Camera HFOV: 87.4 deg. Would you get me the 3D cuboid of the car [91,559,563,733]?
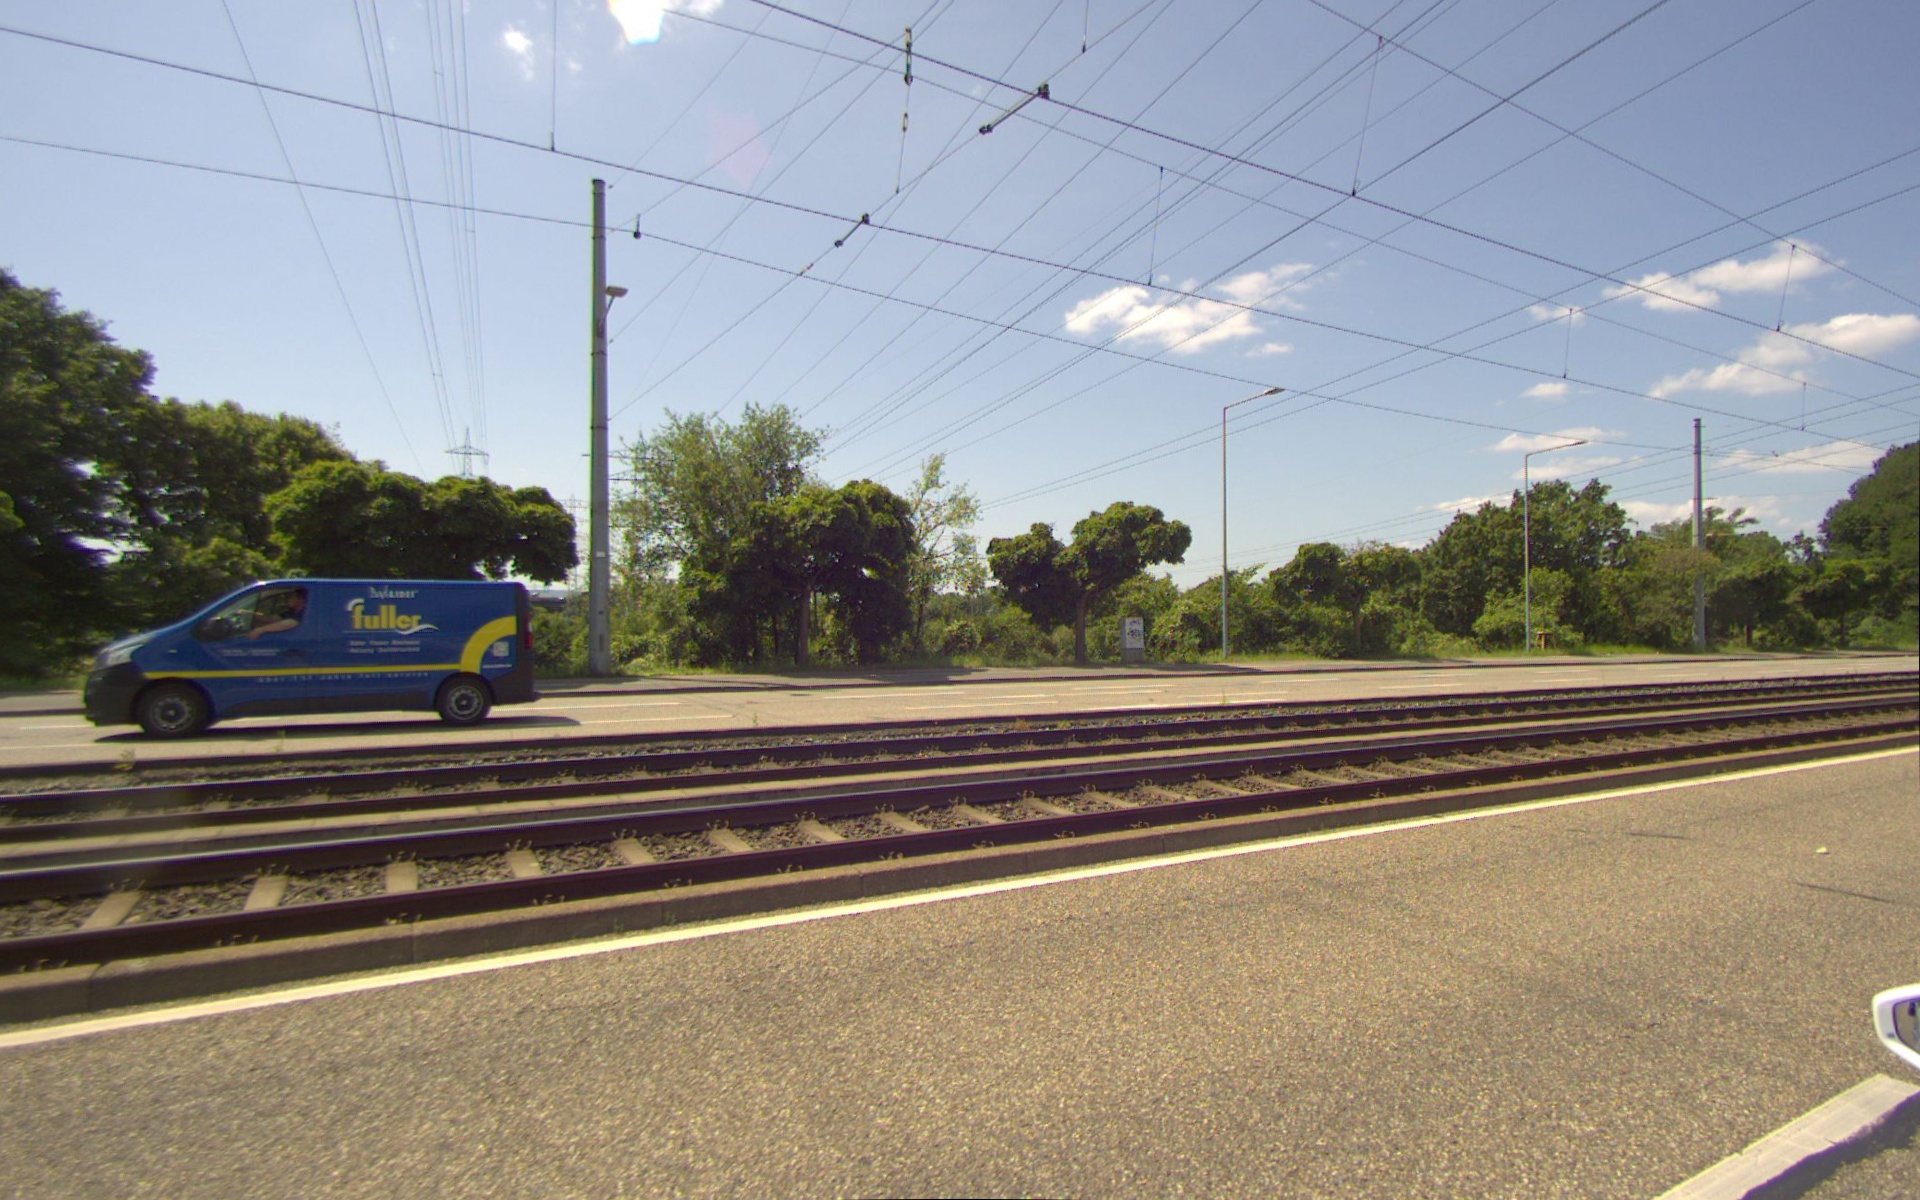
[{"bbox_3d":[-8.041,0.586,13.326,4.949,1.953,1.849,1,-2,-30],"label":"car"}]
